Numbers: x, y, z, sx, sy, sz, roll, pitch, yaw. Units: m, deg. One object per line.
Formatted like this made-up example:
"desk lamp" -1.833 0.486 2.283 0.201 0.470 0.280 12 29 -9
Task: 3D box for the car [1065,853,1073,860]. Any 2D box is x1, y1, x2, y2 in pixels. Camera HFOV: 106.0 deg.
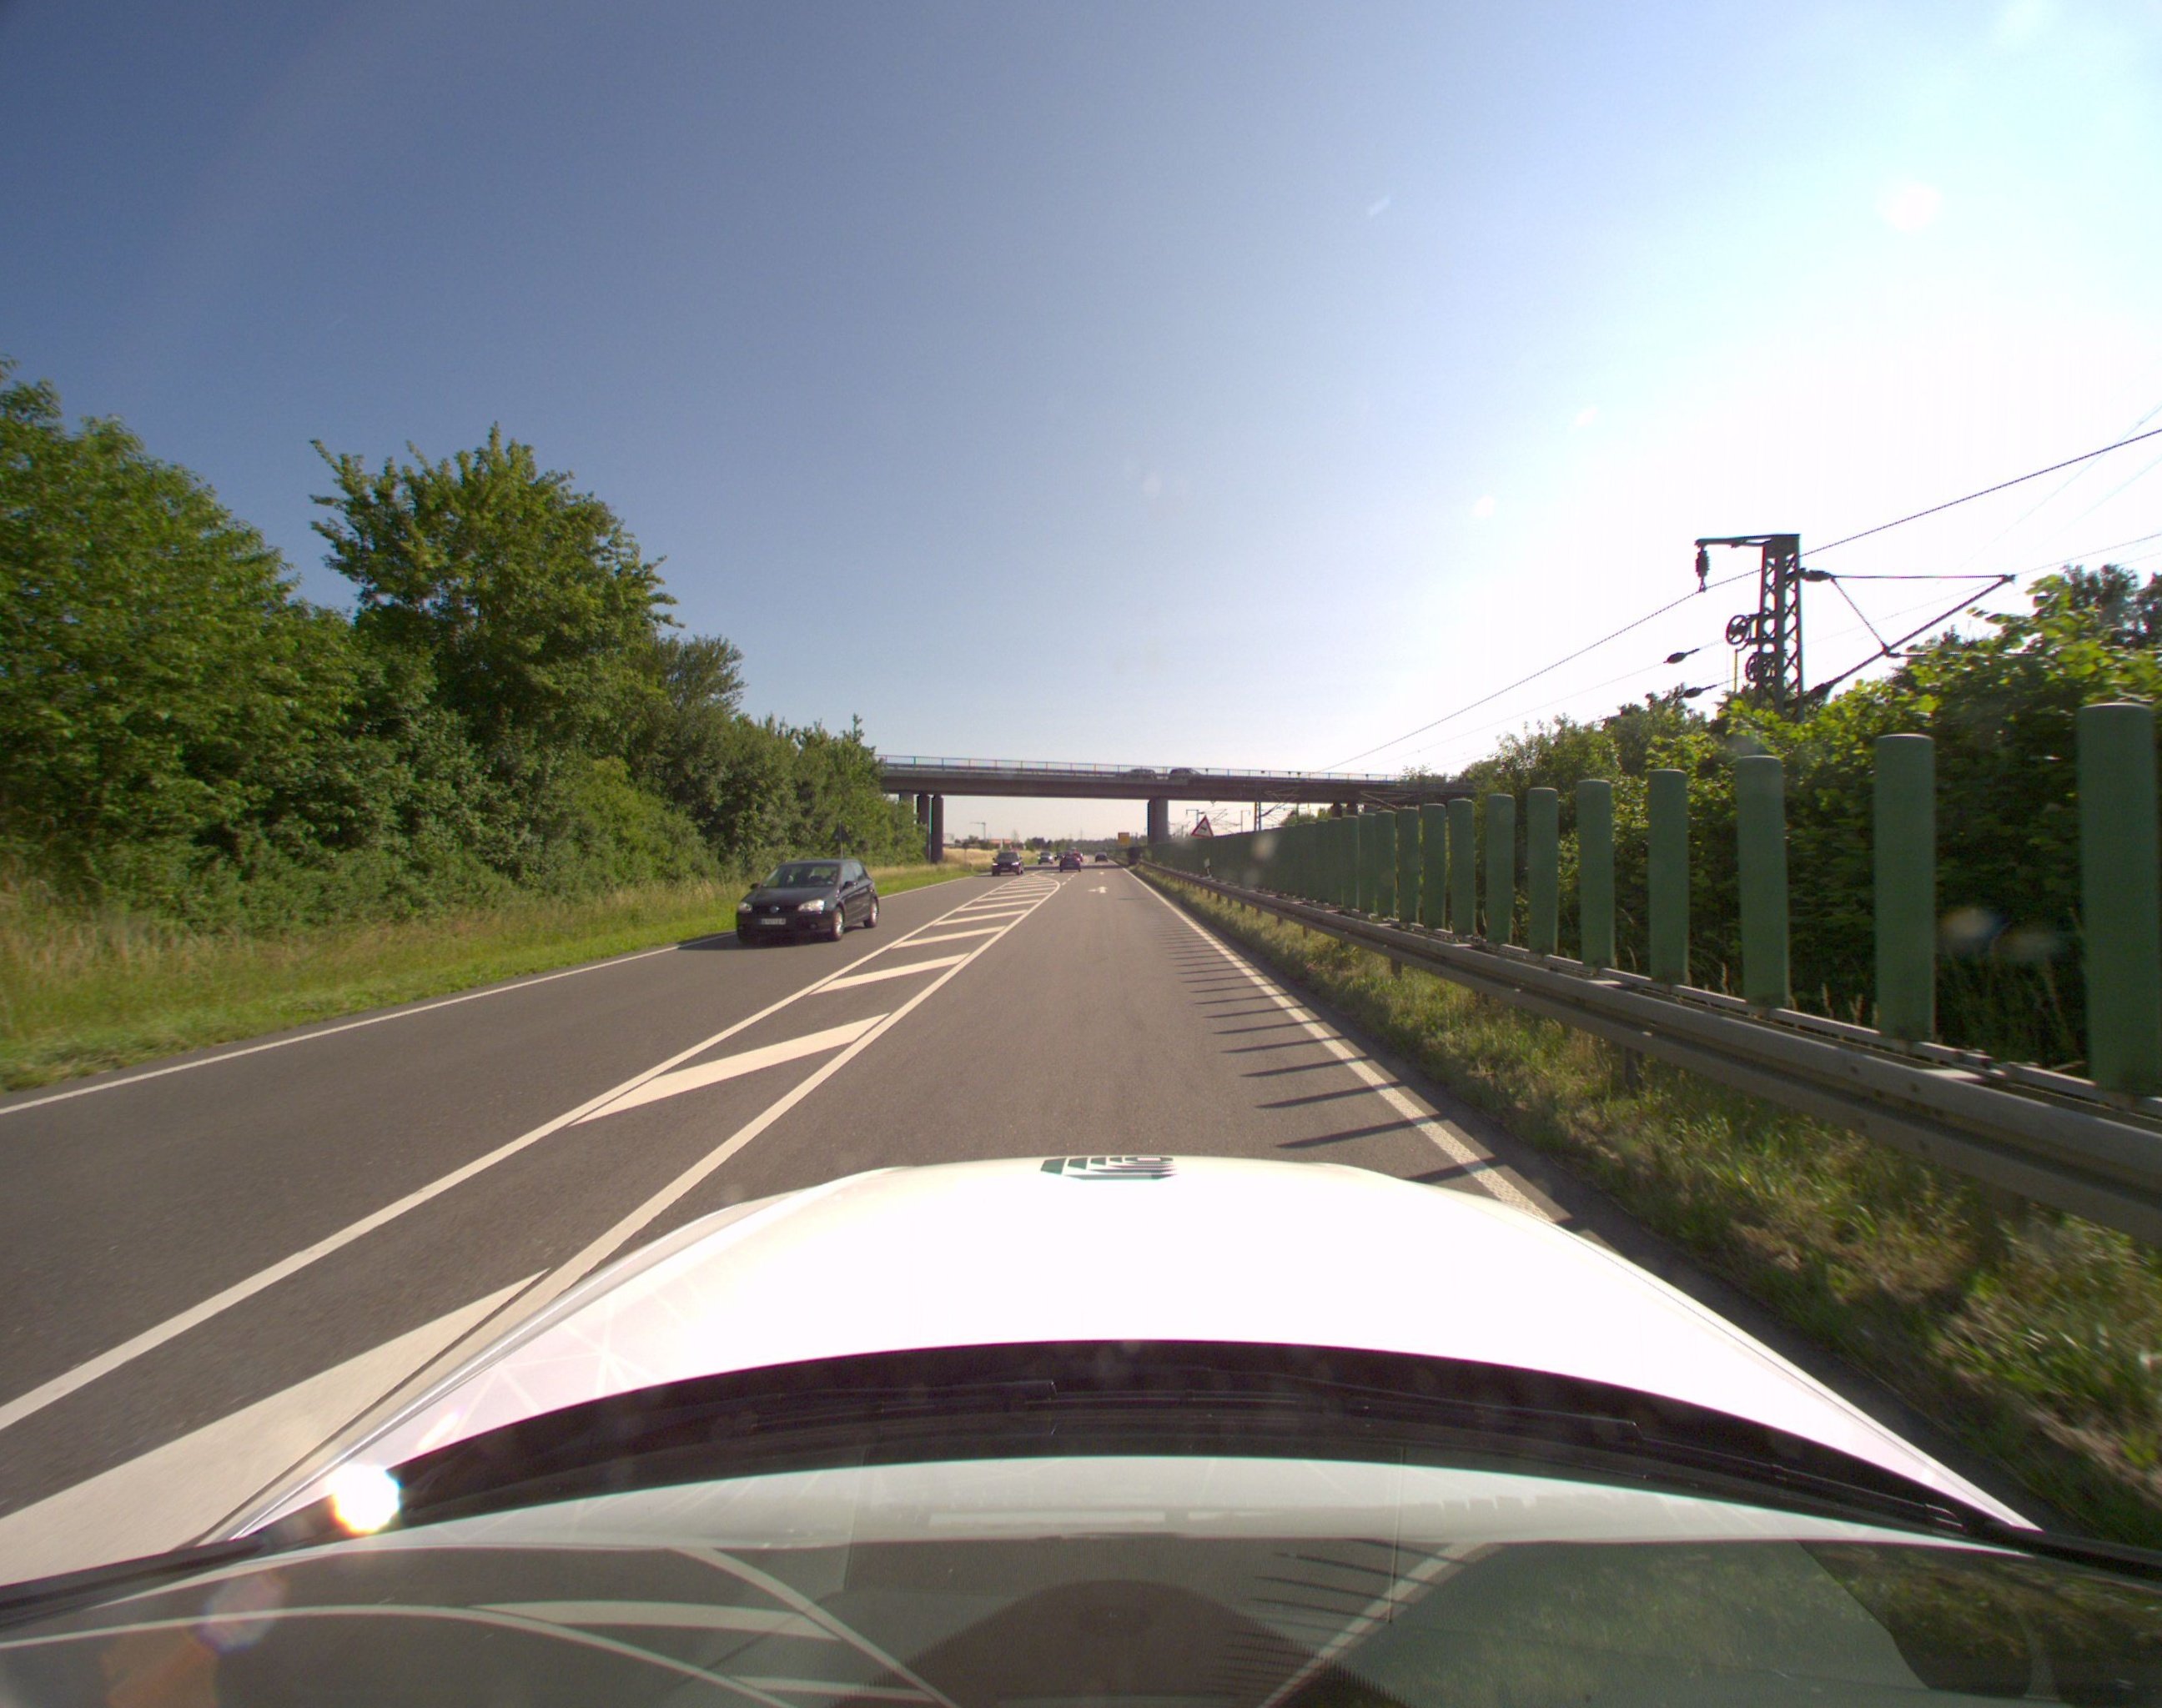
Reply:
"car" -2.850 0.511 196.604 1.888 1.630 4.001 -1 0 1

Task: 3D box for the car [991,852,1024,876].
"car" -5.012 0.639 56.072 1.917 1.593 4.427 0 0 -1

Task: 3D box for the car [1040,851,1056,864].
"car" -4.295 0.494 106.936 1.839 1.630 3.999 -1 0 0

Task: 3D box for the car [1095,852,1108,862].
"car" 2.960 0.398 117.607 1.888 1.418 4.001 -1 0 1

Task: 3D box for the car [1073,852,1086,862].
"car" -0.185 0.503 122.333 1.888 1.418 4.001 -1 0 1

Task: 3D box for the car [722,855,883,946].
"car" -5.126 0.772 15.572 1.745 1.481 3.998 -1 0 -1

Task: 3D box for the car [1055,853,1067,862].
"car" -3.674 0.625 147.651 1.888 1.630 4.001 -1 0 1

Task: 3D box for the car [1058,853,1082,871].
"car" -0.789 0.608 62.840 1.657 1.261 4.001 -1 0 1
